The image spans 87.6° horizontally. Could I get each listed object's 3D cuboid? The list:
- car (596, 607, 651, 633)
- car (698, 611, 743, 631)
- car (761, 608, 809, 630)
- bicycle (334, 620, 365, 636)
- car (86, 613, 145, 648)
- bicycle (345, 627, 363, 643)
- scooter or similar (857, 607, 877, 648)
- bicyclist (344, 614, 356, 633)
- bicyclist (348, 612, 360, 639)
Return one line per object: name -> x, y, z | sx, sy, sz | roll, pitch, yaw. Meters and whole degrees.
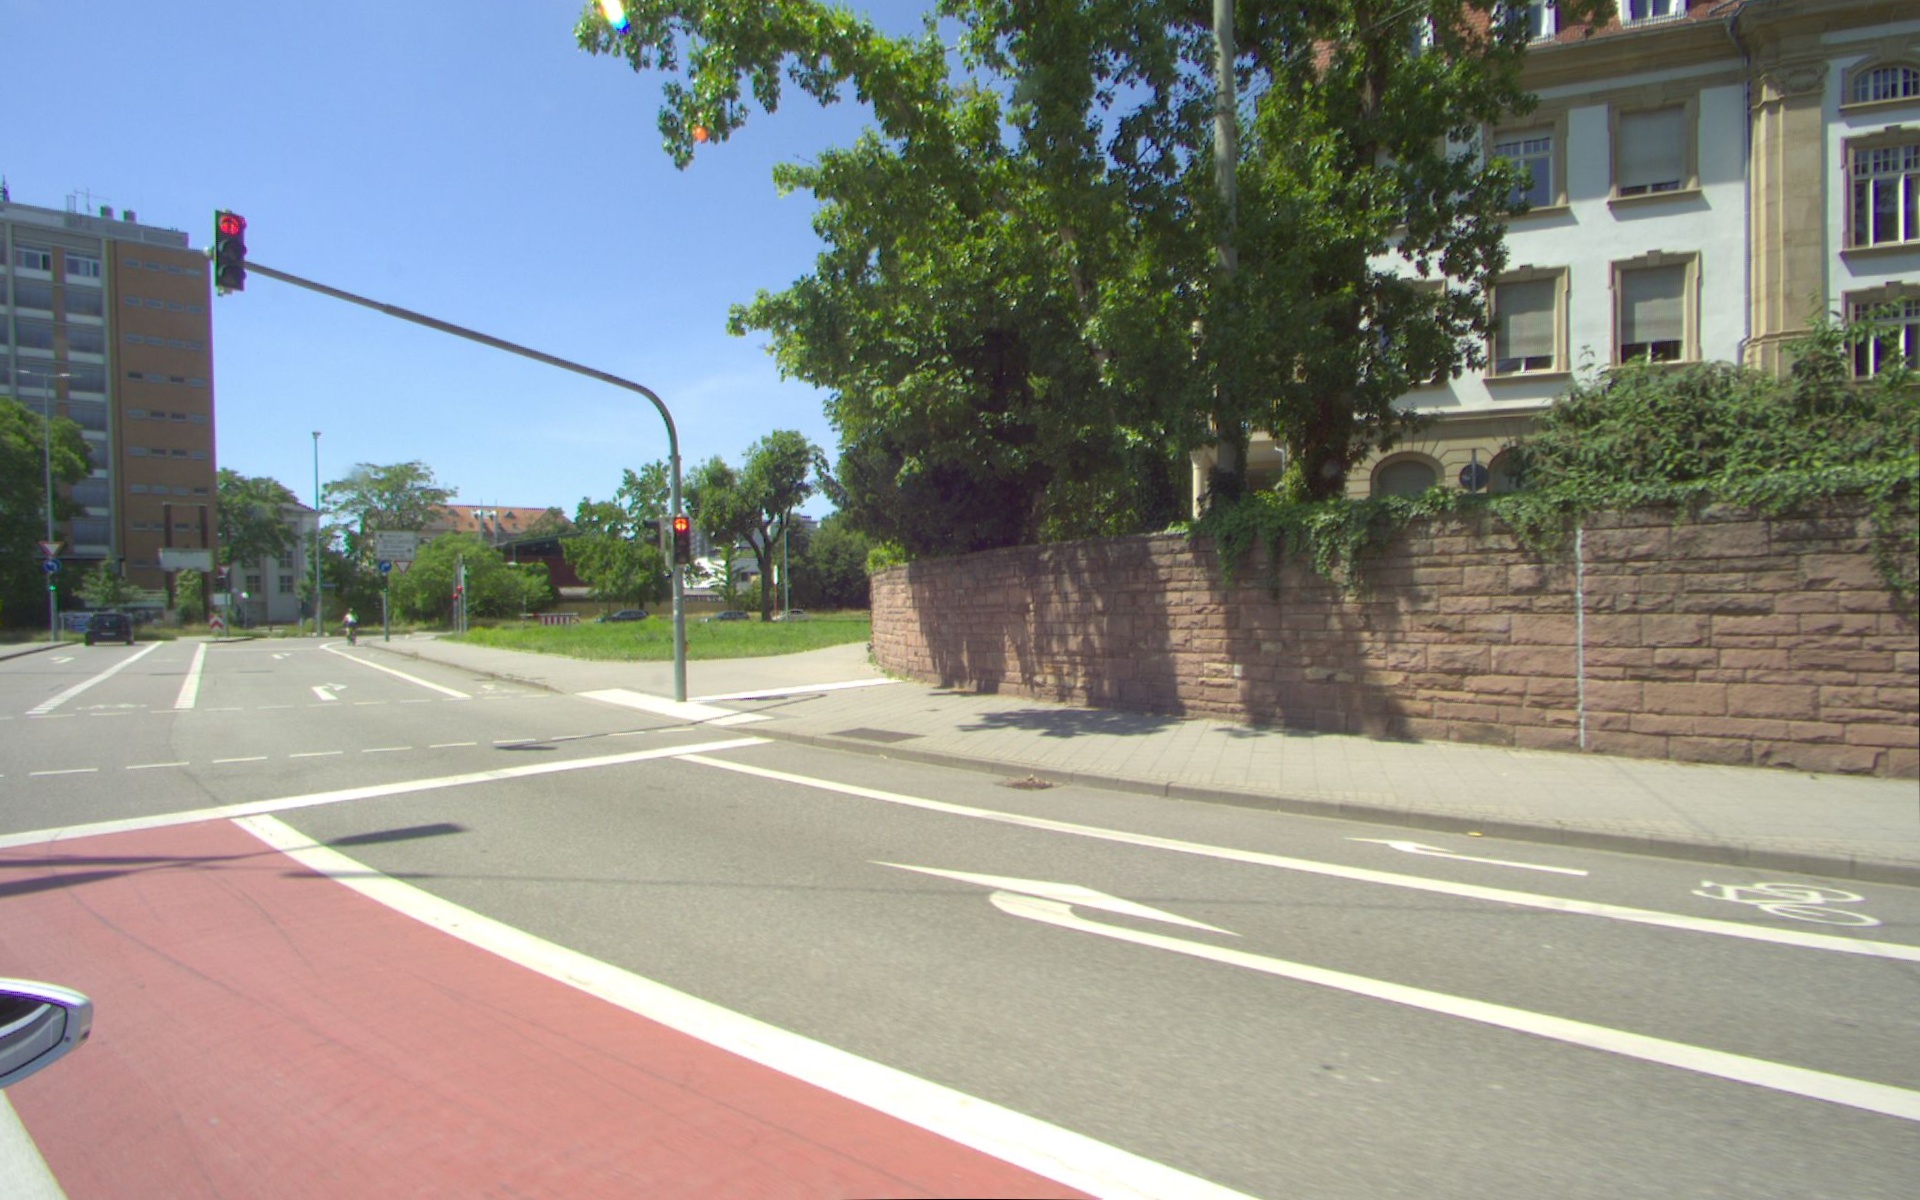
car -> -27.428, 1.611, 81.702 | 3.948, 2.040, 1.460 | -1, -1, -35
car -> -20.801, 1.793, 87.032 | 3.514, 1.649, 1.376 | -1, 0, -36
car -> -15.833, 1.710, 90.653 | 3.948, 1.895, 1.460 | -1, -1, -35
bicycle -> -47.584, 2.199, 78.084 | 1.982, 1.150, 0.572 | -1, 0, -26
car -> -38.844, 1.381, 46.048 | 3.651, 1.547, 1.679 | -1, 0, 44
bicycle -> -28.130, 1.613, 46.501 | 0.372, 0.654, 1.640 | -1, 0, -20
scooter or similar -> -2.775, 0.809, 29.928 | 0.269, 1.178, 1.466 | -1, -1, 7
bicyclist -> -47.604, 1.836, 78.105 | 0.676, 1.508, 0.781 | -1, 0, -26
bicyclist -> -28.138, 1.171, 46.492 | 0.347, 1.244, 0.562 | -1, 1, -21
